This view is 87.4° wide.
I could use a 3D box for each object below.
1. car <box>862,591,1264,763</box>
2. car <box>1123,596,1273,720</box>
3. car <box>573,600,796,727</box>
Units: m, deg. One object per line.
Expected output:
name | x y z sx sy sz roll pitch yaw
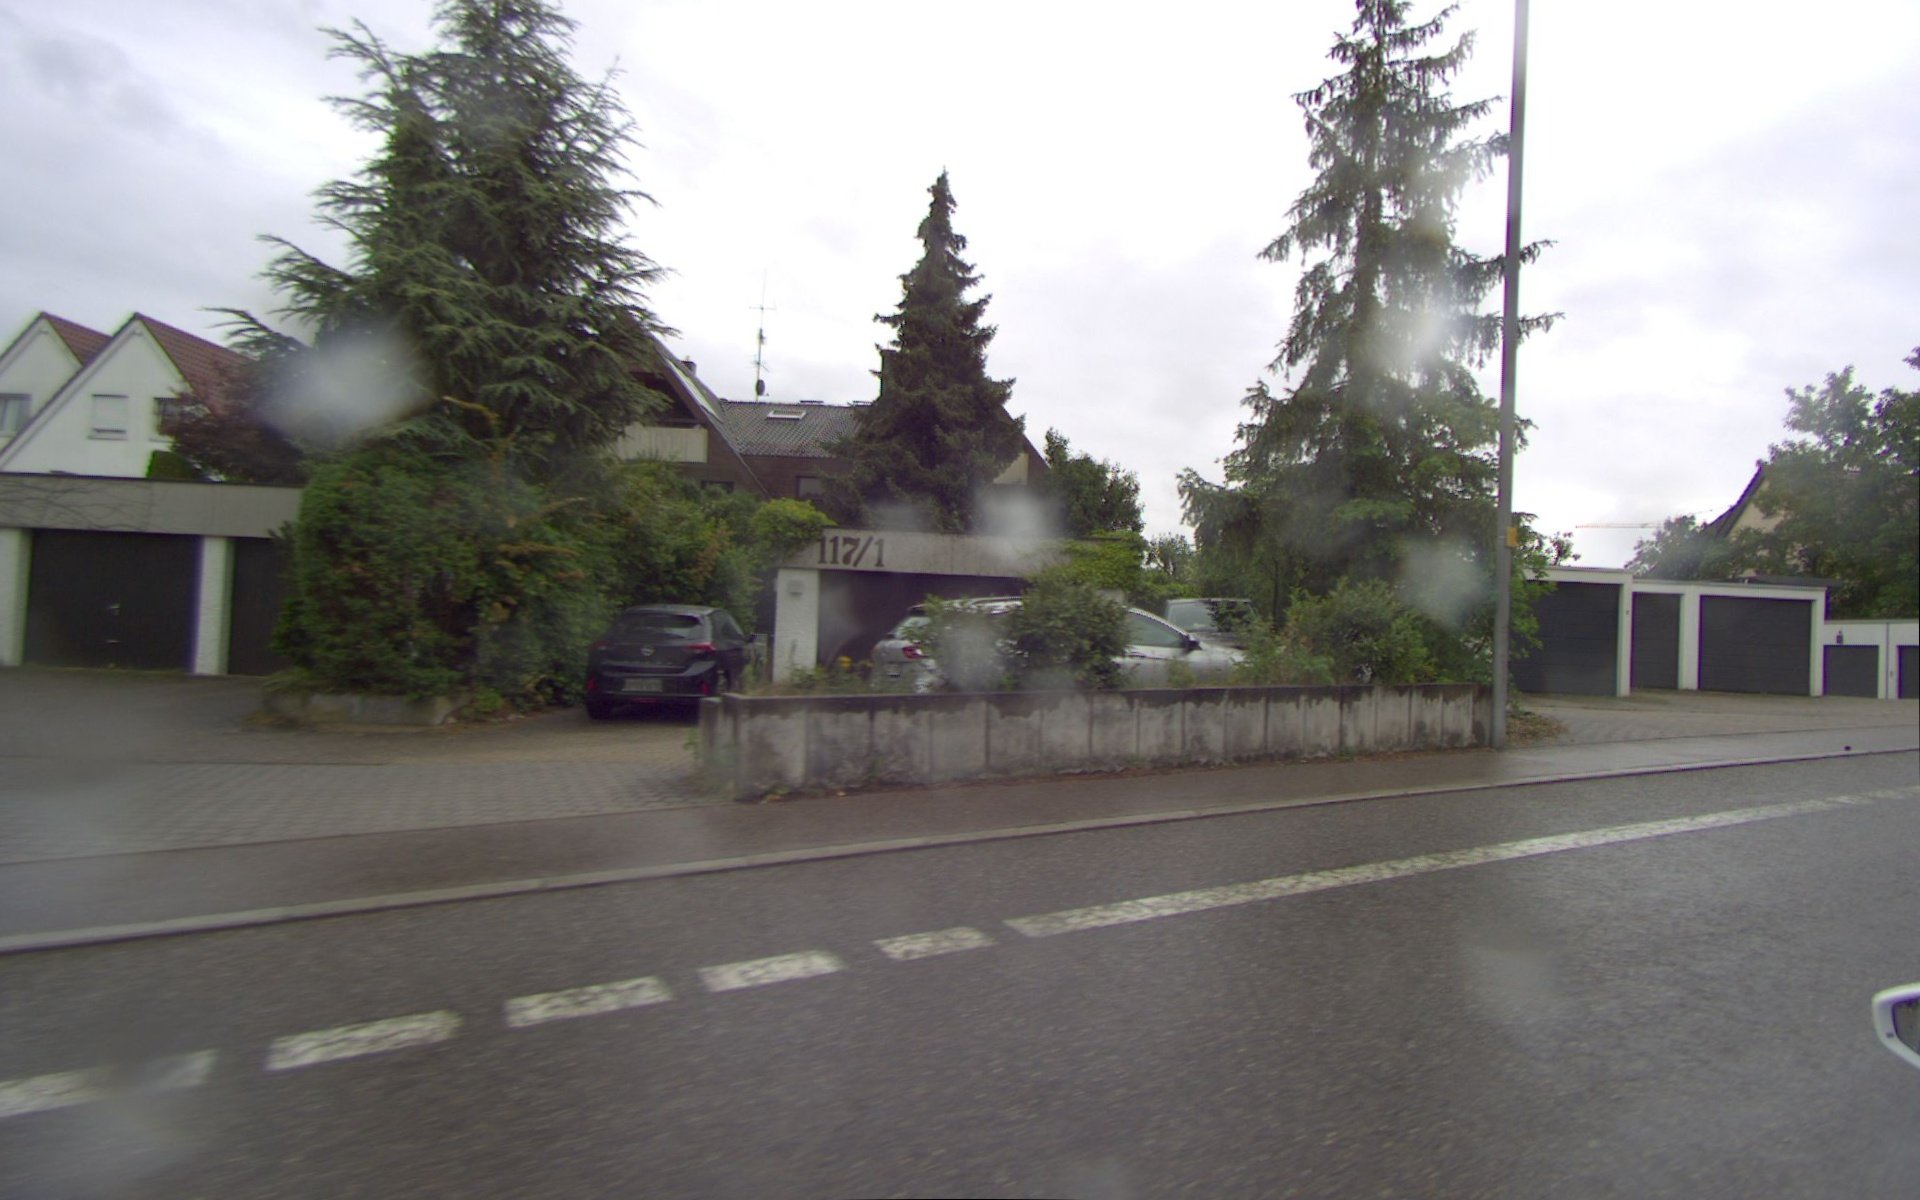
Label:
car | 1.108 0.777 10.762 3.944 1.572 1.730 2 -1 -24
car | 4.017 0.954 17.593 1.960 1.862 4.002 1 -2 5
car | -3.599 0.790 13.941 1.903 1.456 4.001 1 -1 1
